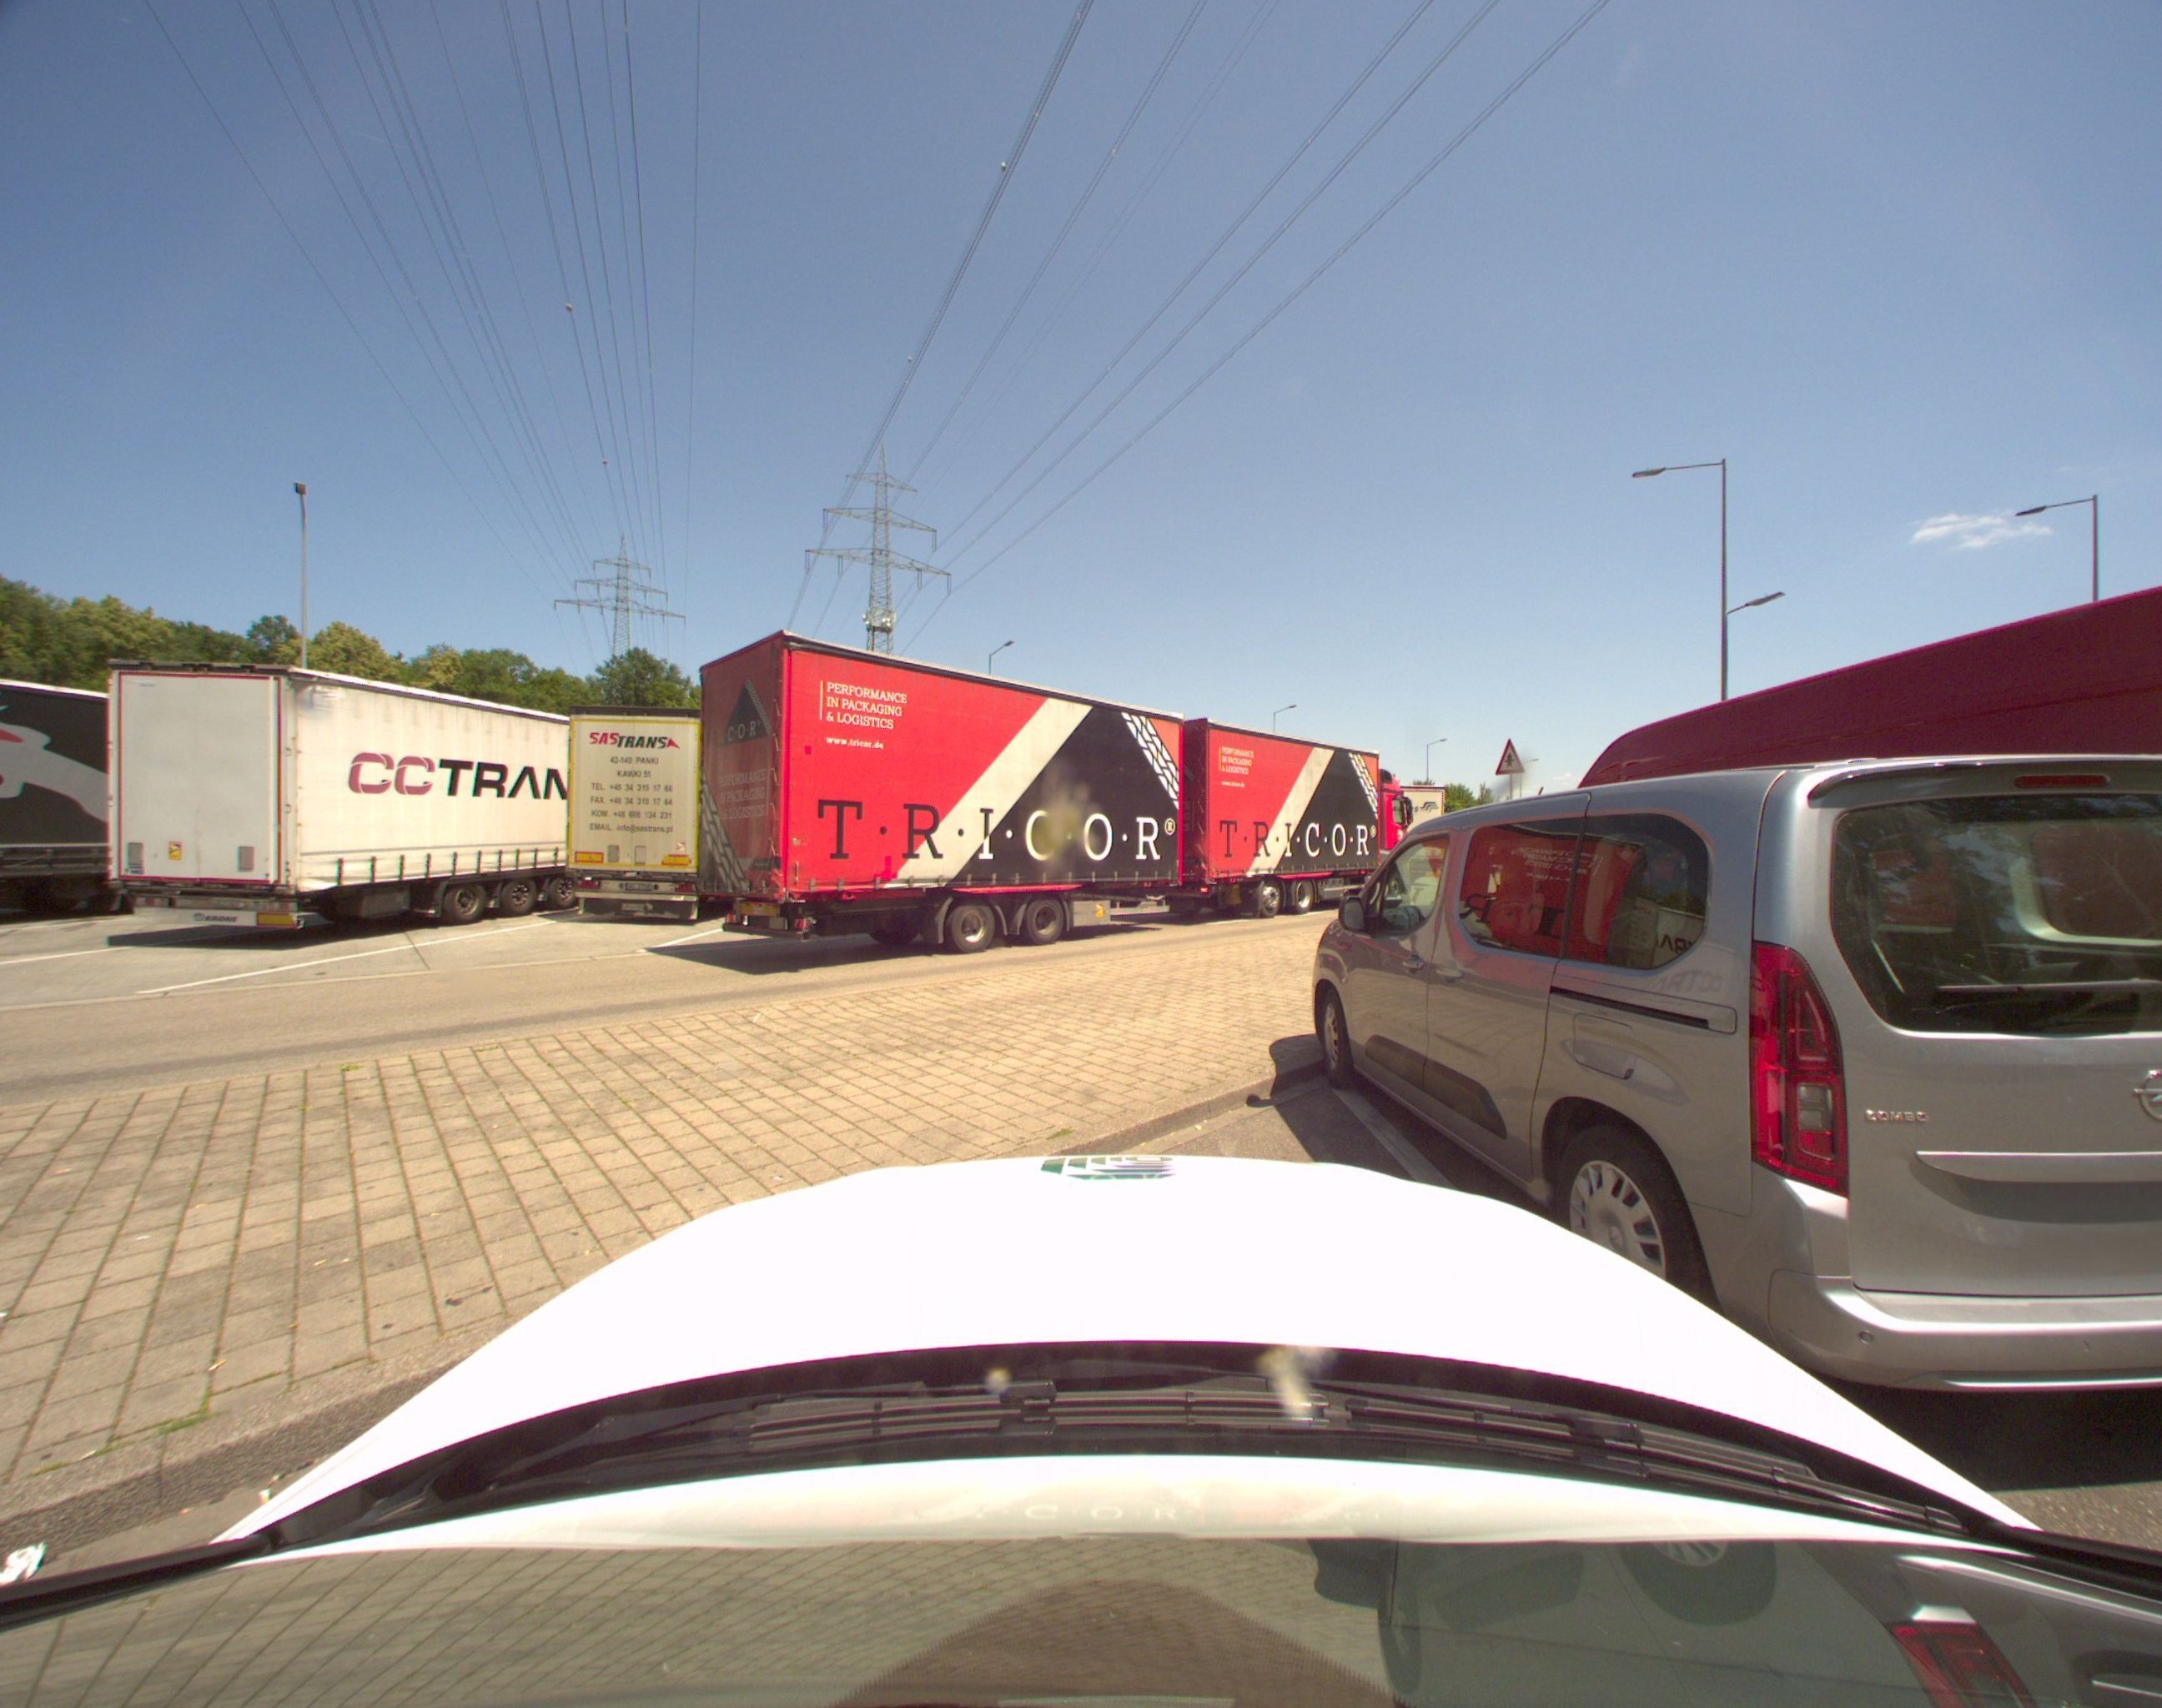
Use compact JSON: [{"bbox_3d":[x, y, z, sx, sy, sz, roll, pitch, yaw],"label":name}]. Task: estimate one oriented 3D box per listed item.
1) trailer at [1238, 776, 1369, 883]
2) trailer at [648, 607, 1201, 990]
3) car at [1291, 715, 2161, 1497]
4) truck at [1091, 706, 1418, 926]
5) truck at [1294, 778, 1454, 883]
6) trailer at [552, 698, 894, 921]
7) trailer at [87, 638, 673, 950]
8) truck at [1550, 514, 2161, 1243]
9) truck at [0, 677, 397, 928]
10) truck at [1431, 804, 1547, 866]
[{"bbox_3d":[9.939,-1.068,38.420,2.865,4.124,13.577,0,1,2],"label":"trailer"},{"bbox_3d":[-1.799,-0.692,13.188,2.808,4.257,8.737,0,1,44],"label":"trailer"},{"bbox_3d":[2.467,0.529,3.861,1.821,1.753,3.998,-1,1,-2],"label":"car"},{"bbox_3d":[4.874,-0.802,20.077,2.660,4.127,10.669,0,1,44],"label":"truck"},{"bbox_3d":[13.574,-1.059,39.663,2.894,4.124,14.533,2,1,2],"label":"truck"},{"bbox_3d":[-8.049,-0.917,21.501,2.739,4.057,13.292,-1,1,2],"label":"trailer"},{"bbox_3d":[-12.102,-0.895,16.083,2.734,4.263,9.740,-1,1,3],"label":"trailer"},{"bbox_3d":[5.097,0.050,4.883,1.983,2.623,5.312,-1,1,6],"label":"truck"},{"bbox_3d":[-18.514,-0.855,15.977,2.627,4.018,8.640,-1,1,2],"label":"truck"},{"bbox_3d":[24.462,-1.132,49.445,3.013,3.437,8.534,-1,1,2],"label":"truck"}]
